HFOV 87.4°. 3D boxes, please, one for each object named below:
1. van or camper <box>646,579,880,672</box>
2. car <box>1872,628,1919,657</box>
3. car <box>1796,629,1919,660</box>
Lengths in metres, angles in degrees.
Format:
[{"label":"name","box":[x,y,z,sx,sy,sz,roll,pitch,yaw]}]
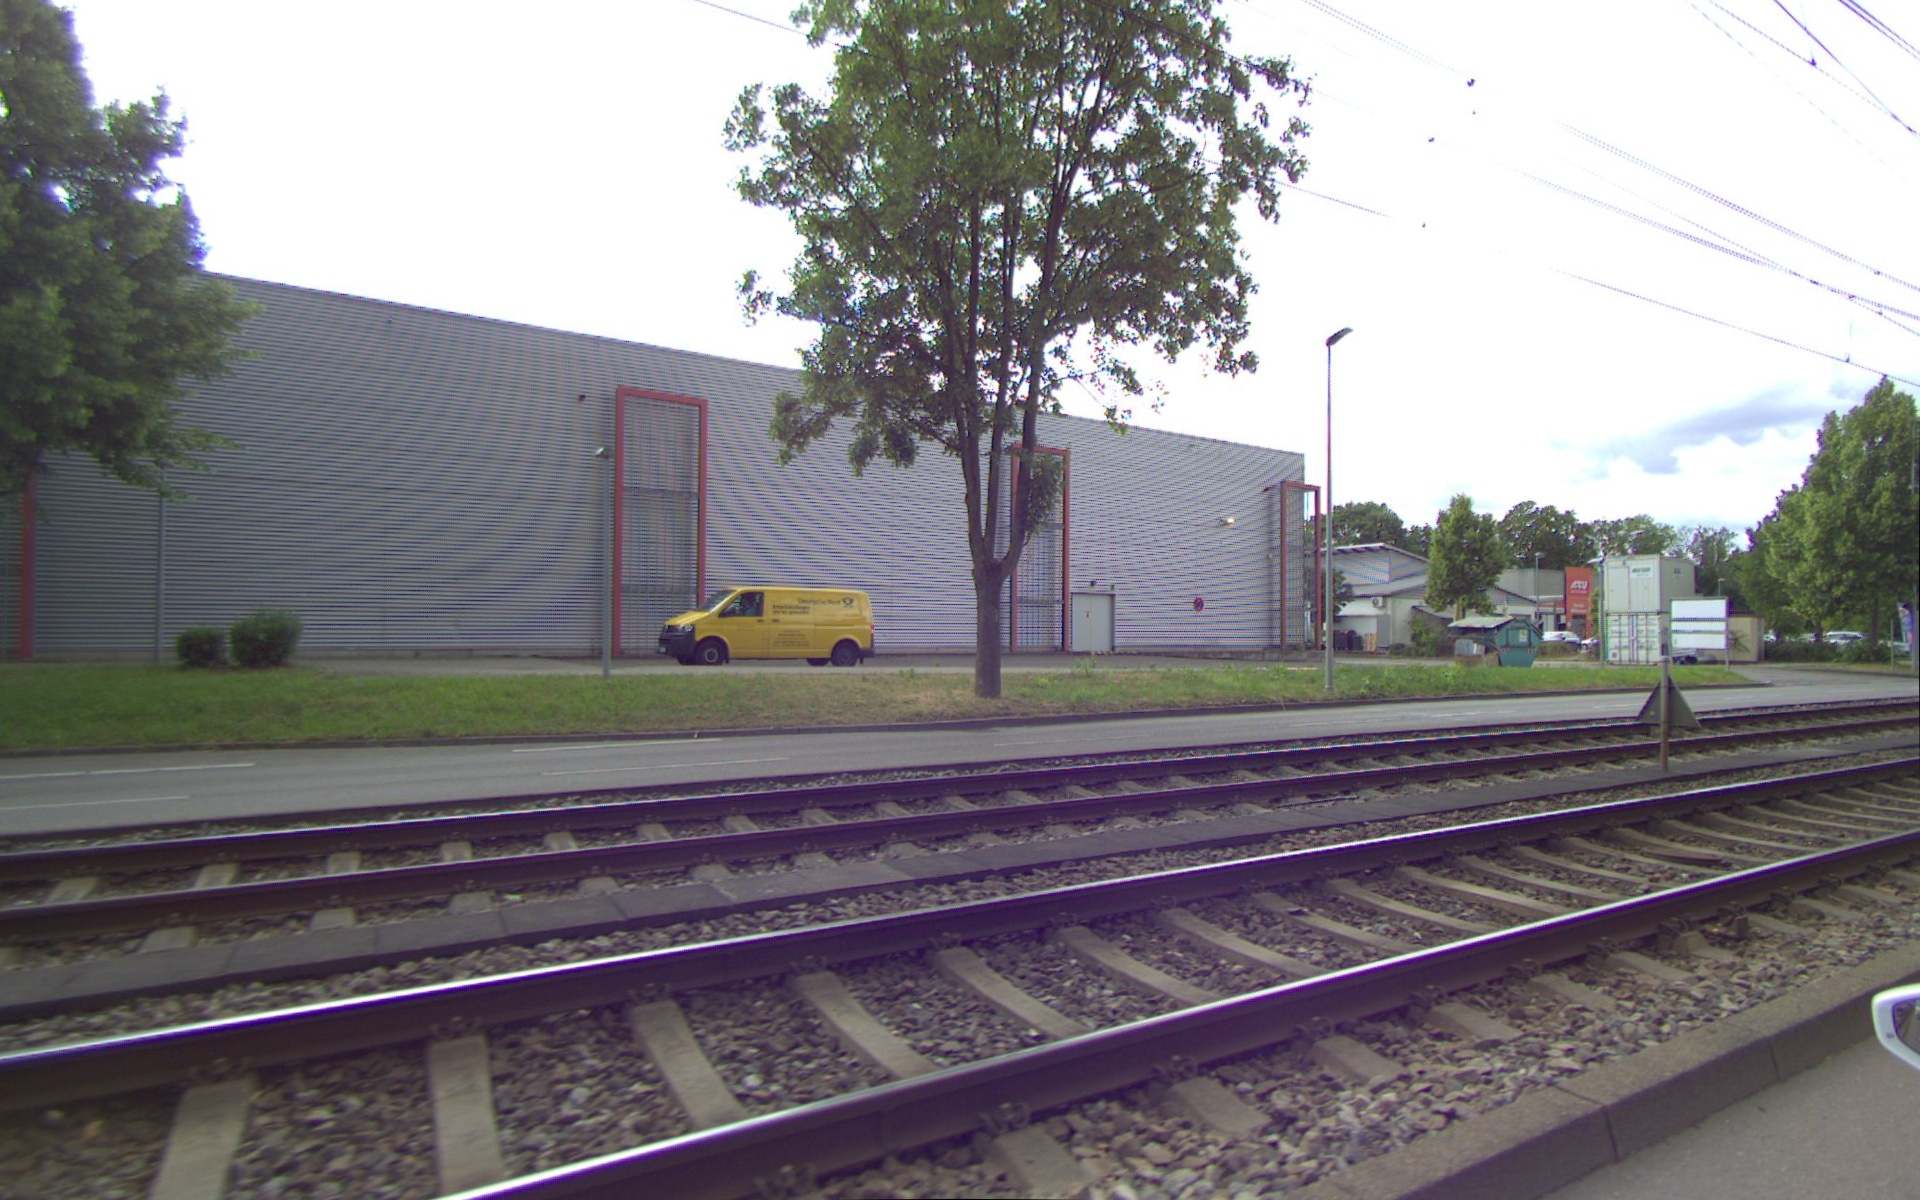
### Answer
[{"label":"van or camper","box":[-4.731,0.630,24.475,5.188,2.040,2.091,1,-1,-34]},{"label":"car","box":[57.790,2.554,60.224,1.973,1.750,4.199,1,-2,-31]},{"label":"car","box":[49.813,2.430,55.672,2.619,1.650,4.761,0,-2,-29]}]
